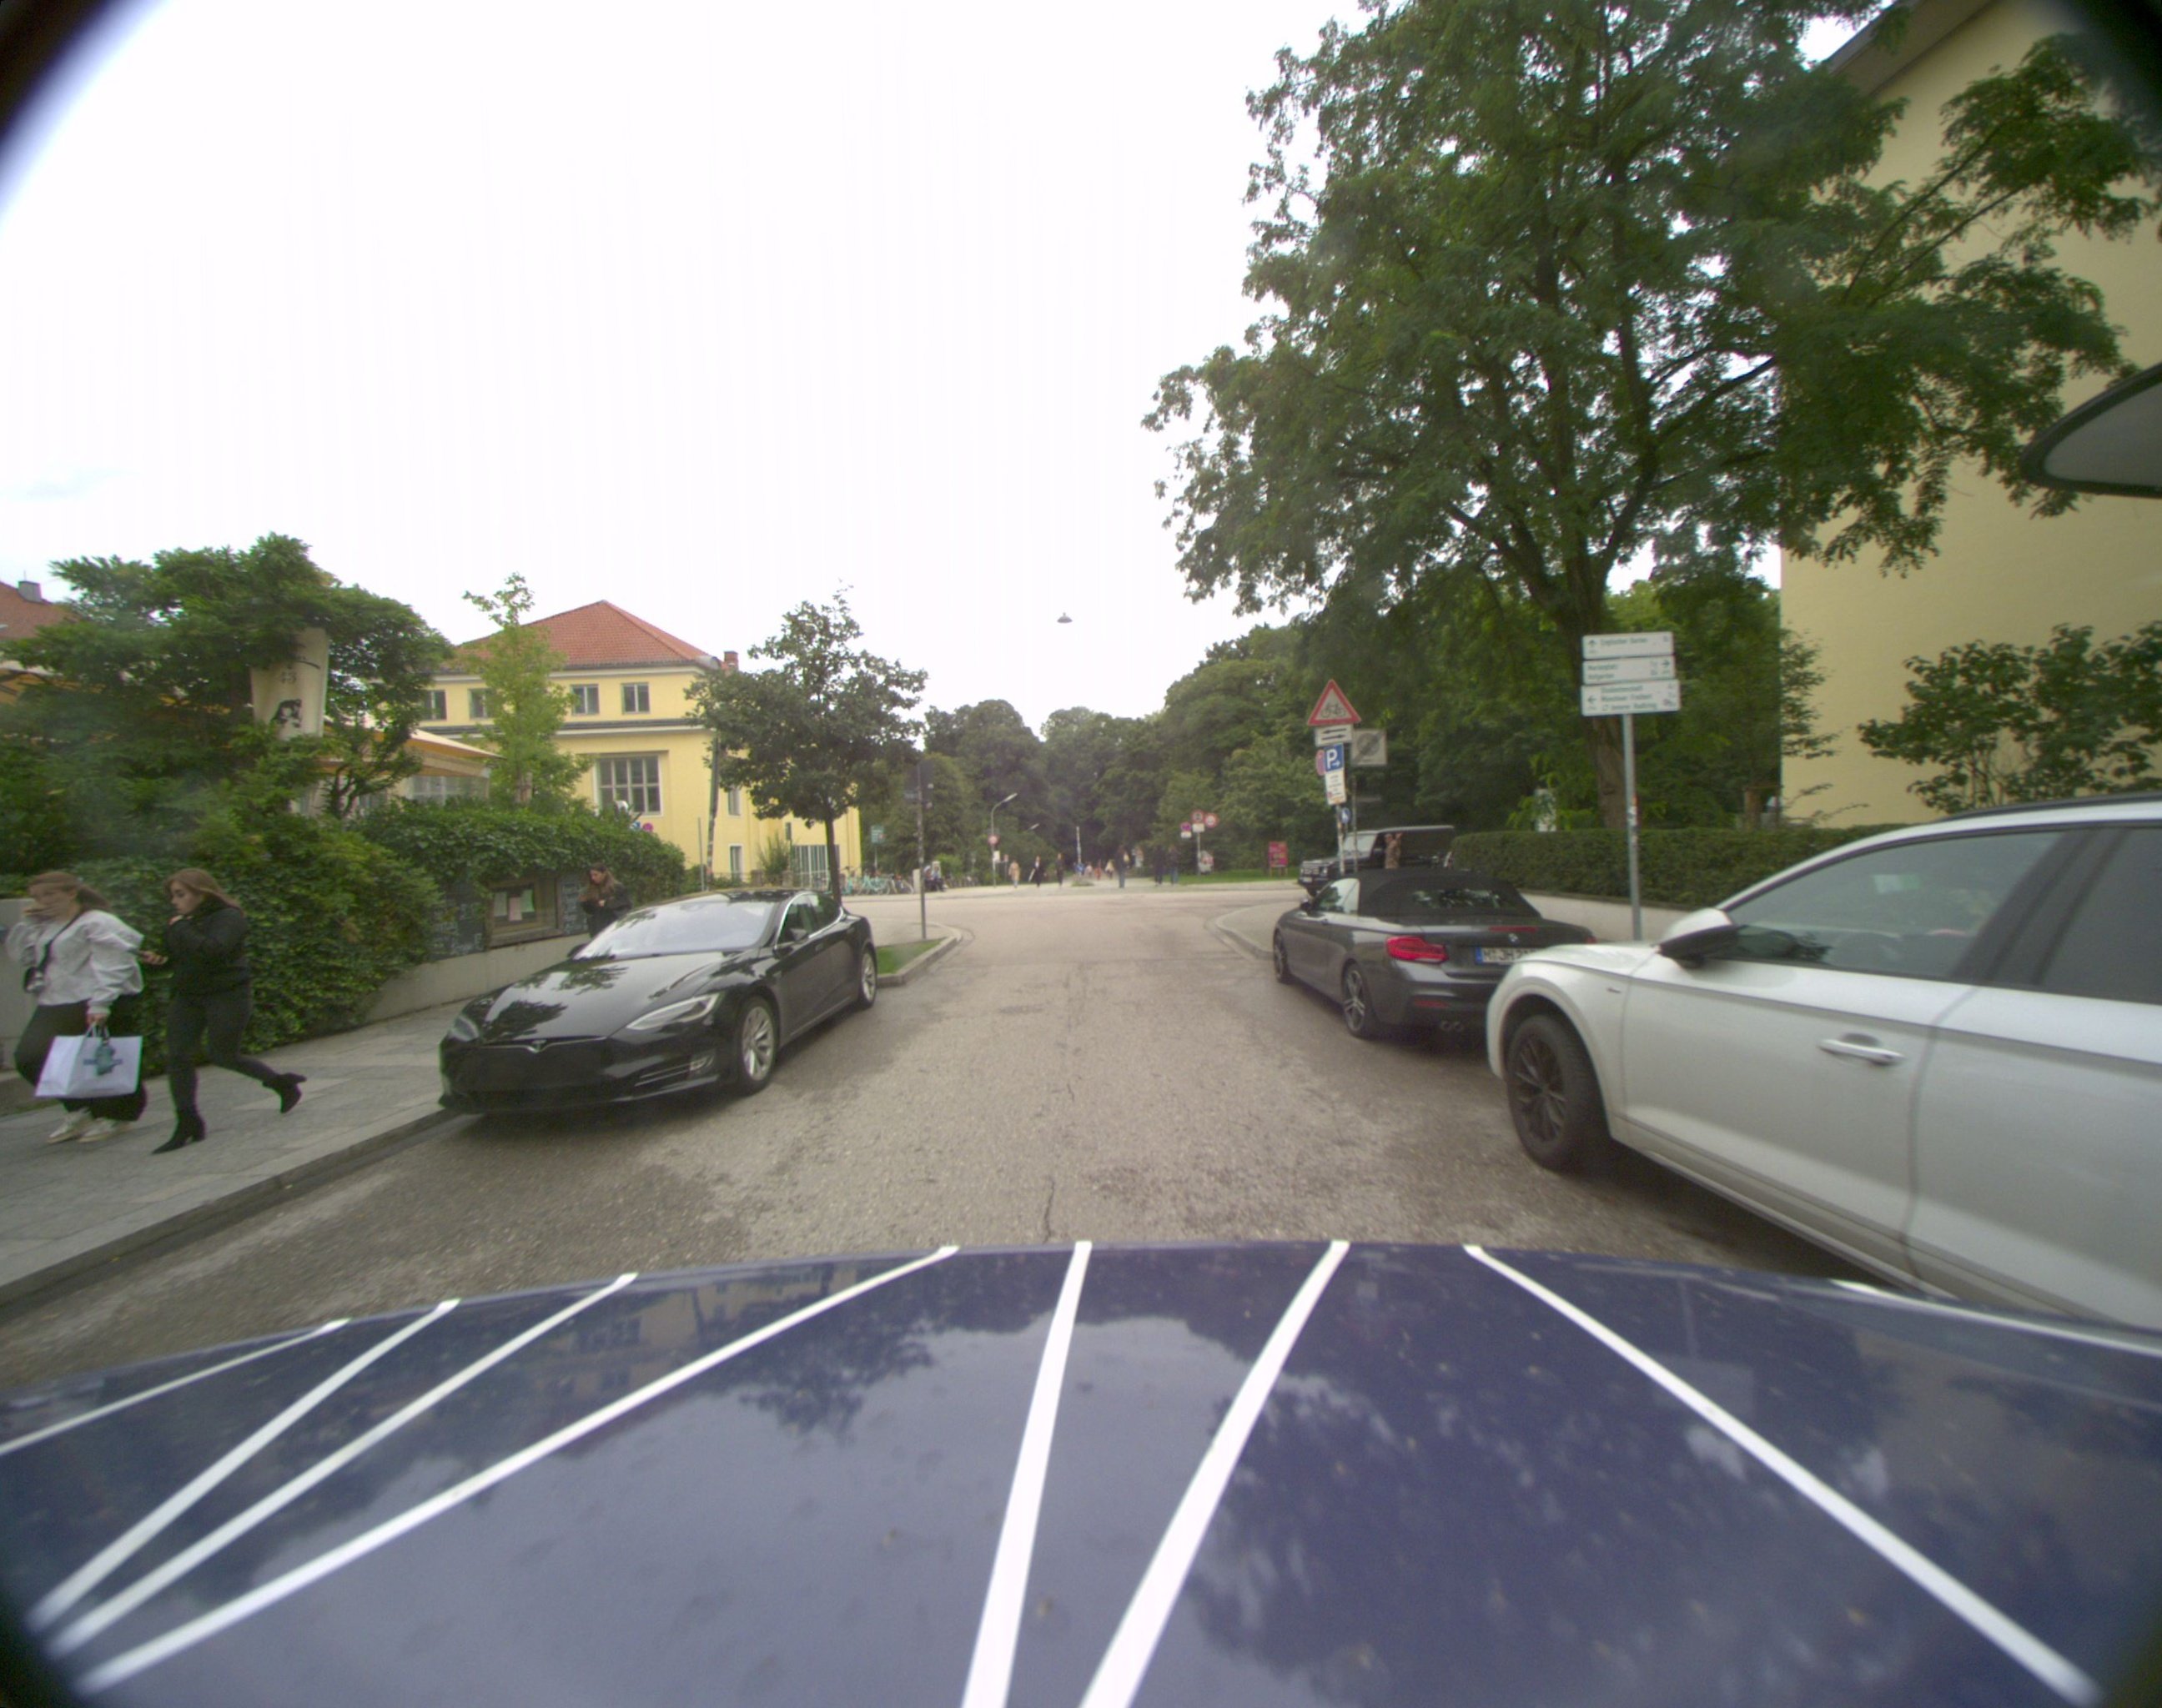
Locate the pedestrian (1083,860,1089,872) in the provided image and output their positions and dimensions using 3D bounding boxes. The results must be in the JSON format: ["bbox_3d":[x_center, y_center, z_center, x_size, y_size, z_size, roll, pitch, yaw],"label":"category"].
[{"bbox_3d":[0.745,1.714,107.945,0.686,1.662,0.774,-4,-2,1],"label":"pedestrian"}]

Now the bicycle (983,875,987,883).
[{"bbox_3d":[-7.506,1.937,59.391,0.242,0.653,0.909,-1,-1,1],"label":"bicycle"}]

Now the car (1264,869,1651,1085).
[{"bbox_3d":[3.152,0.910,7.407,1.750,1.402,4.097,-1,0,0],"label":"car"}]

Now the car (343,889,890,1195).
[{"bbox_3d":[-3.208,1.172,6.623,1.807,1.402,4.656,-3,0,0],"label":"car"}]

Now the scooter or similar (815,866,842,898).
[{"bbox_3d":[-10.216,1.134,30.802,0.396,1.240,1.391,-2,0,9],"label":"scooter or similar"}]

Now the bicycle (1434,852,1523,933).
[{"bbox_3d":[6.643,0.598,12.800,0.563,1.203,1.854,-3,1,3],"label":"bicycle"}]

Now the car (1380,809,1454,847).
[{"bbox_3d":[21.138,-1.644,47.817,3.958,2.093,1.908,-3,2,31],"label":"car"}]

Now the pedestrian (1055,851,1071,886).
[{"bbox_3d":[-0.888,0.743,37.342,0.639,1.662,0.774,-4,-2,1],"label":"pedestrian"}]

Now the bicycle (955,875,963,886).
[{"bbox_3d":[-7.685,1.690,47.855,0.215,0.671,0.910,-1,-1,12],"label":"bicycle"}]

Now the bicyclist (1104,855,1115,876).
[{"bbox_3d":[2.472,1.023,67.094,0.856,1.792,0.766,-3,1,1],"label":"bicyclist"}]

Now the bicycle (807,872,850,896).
[{"bbox_3d":[-10.545,1.235,31.744,1.656,0.987,0.248,0,-1,-24],"label":"bicycle"}]

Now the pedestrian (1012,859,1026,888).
[{"bbox_3d":[-3.730,1.186,45.638,0.653,1.676,0.976,-4,-2,1],"label":"pedestrian"}]

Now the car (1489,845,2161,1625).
[{"bbox_3d":[3.083,0.762,1.887,1.807,1.574,4.338,-1,-1,0],"label":"car"}]

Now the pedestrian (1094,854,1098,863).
[{"bbox_3d":[2.159,0.675,107.719,0.471,1.259,0.448,-2,3,0],"label":"pedestrian"}]

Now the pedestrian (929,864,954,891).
[{"bbox_3d":[-7.069,1.182,38.481,1.178,1.285,0.639,-4,-2,-10],"label":"pedestrian"}]

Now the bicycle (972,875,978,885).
[{"bbox_3d":[-7.650,1.858,54.853,0.215,0.671,0.909,-1,-1,3],"label":"bicycle"}]

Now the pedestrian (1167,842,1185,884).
[{"bbox_3d":[4.162,0.400,33.230,0.634,1.771,0.801,-1,-1,1],"label":"pedestrian"}]

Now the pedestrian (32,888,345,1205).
[{"bbox_3d":[-5.293,1.080,4.592,0.706,1.652,0.880,-2,2,-1],"label":"pedestrian"}]

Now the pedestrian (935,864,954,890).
[{"bbox_3d":[-7.048,1.189,39.134,0.887,1.227,0.550,-4,-2,-10],"label":"pedestrian"}]

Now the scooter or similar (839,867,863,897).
[{"bbox_3d":[-9.369,1.128,30.935,1.114,1.205,0.324,-2,0,37],"label":"scooter or similar"}]

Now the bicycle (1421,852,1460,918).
[{"bbox_3d":[7.094,0.583,15.056,0.582,1.120,2.301,-4,1,24],"label":"bicycle"}]

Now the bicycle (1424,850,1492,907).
[{"bbox_3d":[8.395,0.535,16.873,1.955,1.150,0.582,-3,-1,-41],"label":"bicycle"}]

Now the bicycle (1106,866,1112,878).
[{"bbox_3d":[2.448,1.598,67.254,0.483,1.035,1.946,-2,0,3],"label":"bicycle"}]

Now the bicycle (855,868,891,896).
[{"bbox_3d":[-8.987,1.181,32.914,0.202,1.184,1.658,-1,-1,42],"label":"bicycle"}]

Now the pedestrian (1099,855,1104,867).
[{"bbox_3d":[2.878,0.980,107.406,0.686,1.662,0.774,-4,-2,1],"label":"pedestrian"}]

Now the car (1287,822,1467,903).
[{"bbox_3d":[8.361,0.181,21.553,4.422,1.990,1.933,-3,2,-14],"label":"car"}]

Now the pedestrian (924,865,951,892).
[{"bbox_3d":[-7.092,1.191,37.538,1.217,1.239,0.639,-4,-2,-10],"label":"pedestrian"}]

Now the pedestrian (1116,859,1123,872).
[{"bbox_3d":[4.955,1.480,97.893,0.686,1.662,0.774,-4,-2,1],"label":"pedestrian"}]

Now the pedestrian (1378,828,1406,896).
[{"bbox_3d":[8.367,0.211,20.459,0.560,1.788,0.641,-3,-1,18],"label":"pedestrian"}]

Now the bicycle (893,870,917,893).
[{"bbox_3d":[-7.998,1.255,34.609,0.307,1.032,1.656,-1,-1,15],"label":"bicycle"}]

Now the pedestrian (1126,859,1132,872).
[{"bbox_3d":[6.554,1.587,103.206,0.686,1.662,0.774,-4,-2,1],"label":"pedestrian"}]

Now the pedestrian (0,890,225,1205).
[{"bbox_3d":[-6.072,1.092,4.573,0.706,1.652,0.880,-2,2,-1],"label":"pedestrian"}]

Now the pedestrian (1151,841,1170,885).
[{"bbox_3d":[3.471,0.401,33.245,0.707,1.892,0.804,-1,-1,1],"label":"pedestrian"}]

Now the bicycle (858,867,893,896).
[{"bbox_3d":[-8.848,1.169,32.773,0.169,1.191,1.658,-1,-1,42],"label":"bicycle"}]

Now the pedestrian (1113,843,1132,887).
[{"bbox_3d":[1.785,0.479,32.926,0.751,1.822,1.115,-1,-1,1],"label":"pedestrian"}]

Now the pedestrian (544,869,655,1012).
[{"bbox_3d":[-5.889,1.025,9.352,0.706,1.613,0.880,-2,2,-1],"label":"pedestrian"}]

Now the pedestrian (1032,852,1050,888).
[{"bbox_3d":[-1.956,0.786,37.216,0.686,1.662,0.774,-4,-2,1],"label":"pedestrian"}]
